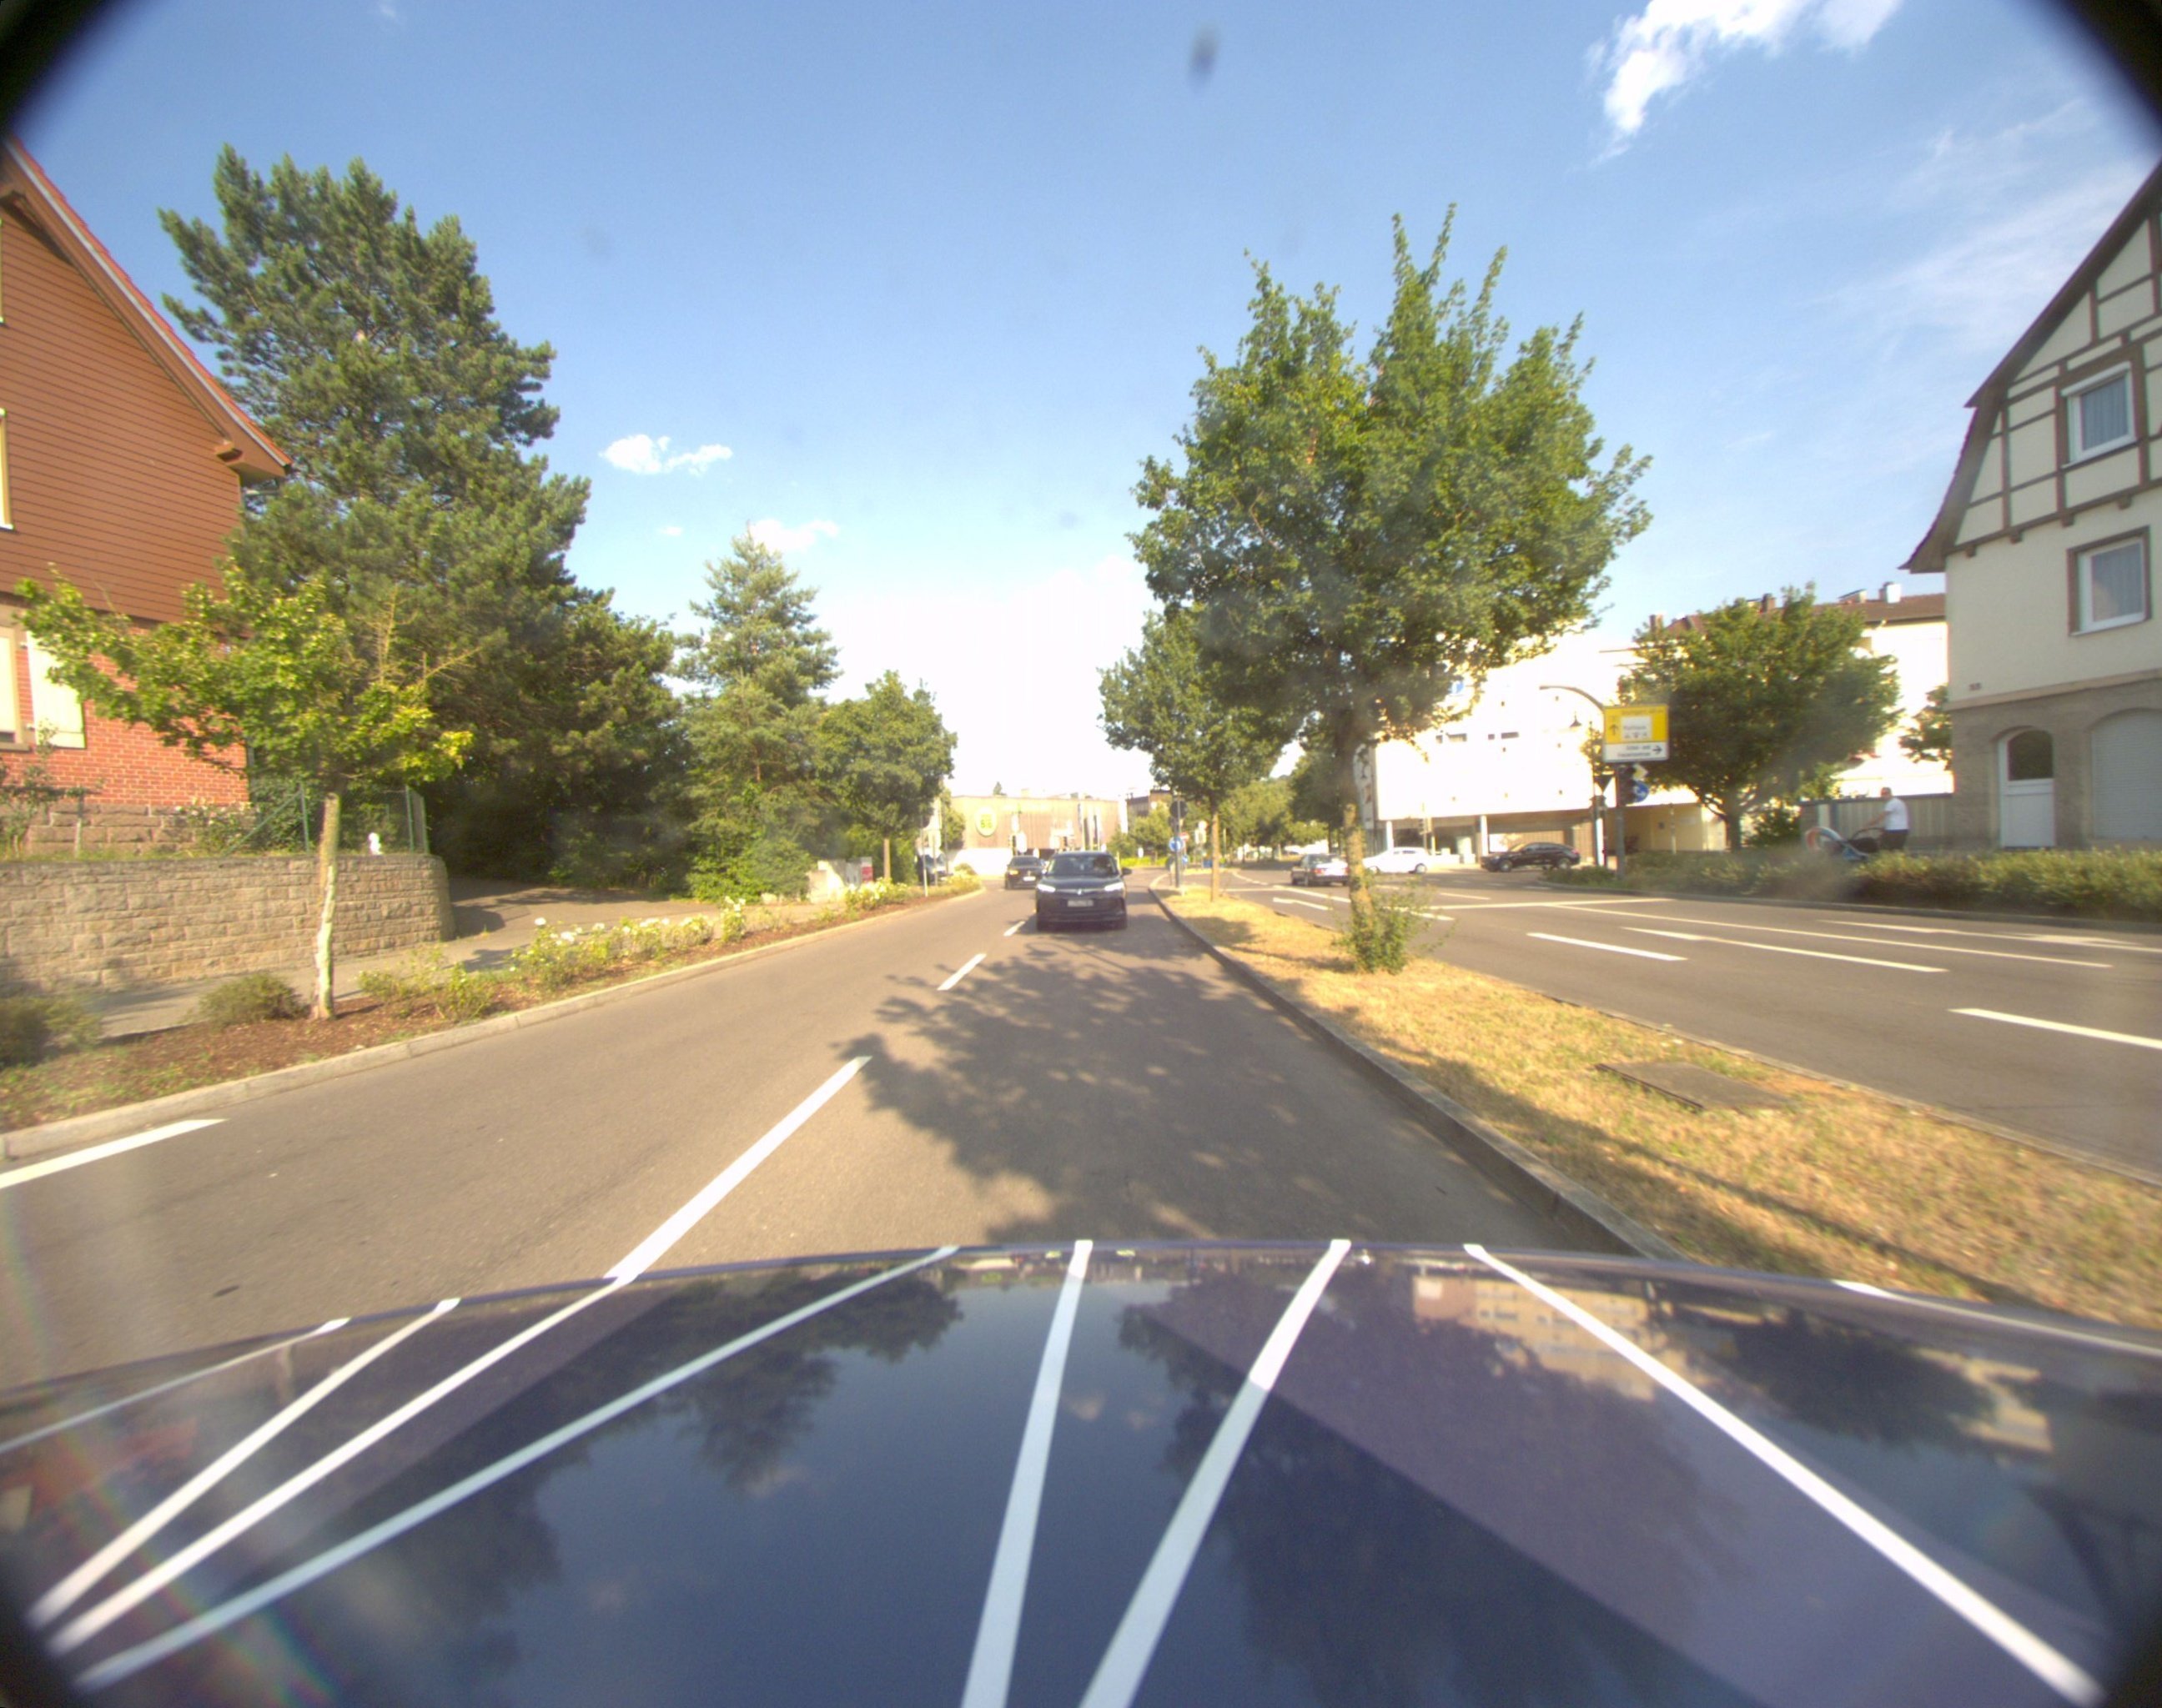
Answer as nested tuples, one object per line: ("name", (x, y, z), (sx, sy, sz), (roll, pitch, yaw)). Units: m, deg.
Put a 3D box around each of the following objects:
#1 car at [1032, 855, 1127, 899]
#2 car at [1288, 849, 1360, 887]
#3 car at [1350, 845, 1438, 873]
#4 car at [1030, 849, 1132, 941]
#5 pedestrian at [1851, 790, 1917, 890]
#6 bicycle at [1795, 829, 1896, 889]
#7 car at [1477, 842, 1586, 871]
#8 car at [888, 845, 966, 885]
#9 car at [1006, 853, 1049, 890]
("car", (0.054, 0.818, 29.247), (1.682, 1.427, 4.597), (-1, 1, 28))
("car", (9.840, 0.521, 31.083), (1.765, 1.346, 4.162), (-2, 1, 3))
("car", (17.181, 0.268, 41.865), (4.126, 1.346, 1.768), (-2, 1, 6))
("car", (0.020, 0.774, 16.887), (1.894, 1.647, 4.729), (-2, 1, 1))
("pedestrian", (16.375, -0.276, 15.501), (0.699, 1.971, 0.588), (-2, 1, 1))
("bicycle", (16.409, 0.093, 16.358), (0.681, 1.215, 1.514), (-2, 1, 2))
("car", (24.012, 0.123, 40.661), (4.661, 1.346, 1.768), (-2, 1, 8))
("car", (-10.724, 0.732, 52.514), (2.377, 2.533, 6.175), (-3, 1, -42))
("car", (-2.613, 0.792, 36.914), (1.887, 1.599, 4.125), (-2, 1, -5))
